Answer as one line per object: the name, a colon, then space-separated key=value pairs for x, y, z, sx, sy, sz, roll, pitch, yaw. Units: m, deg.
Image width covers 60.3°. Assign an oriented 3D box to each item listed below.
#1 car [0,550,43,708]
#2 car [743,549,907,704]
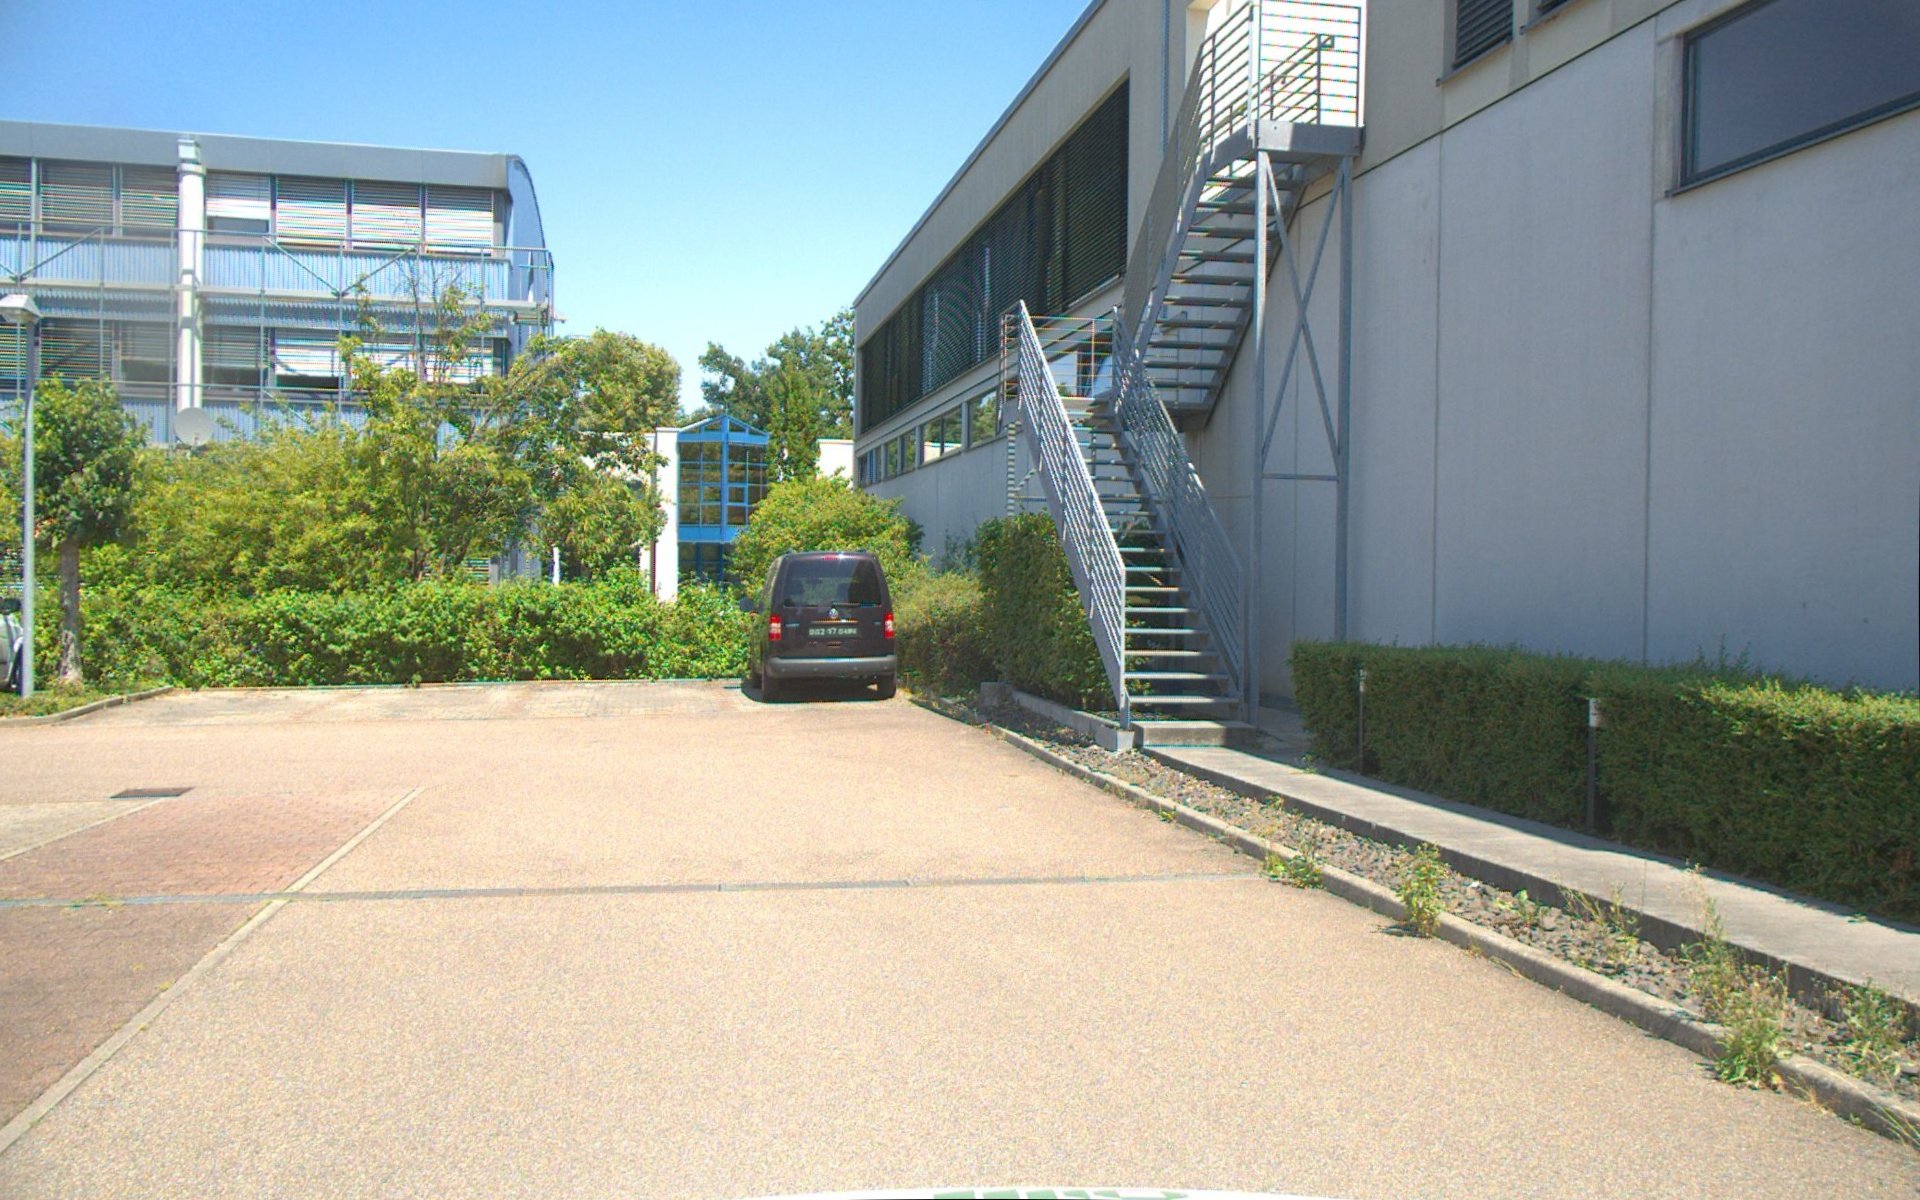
car: x=-12.537 y=0.386 z=19.326 sx=1.880 sy=1.938 sz=4.793 roll=-1 pitch=1 yaw=-13
car: x=-1.896 y=0.292 z=22.175 sx=1.712 sy=1.869 sz=3.988 roll=-1 pitch=1 yaw=-12
